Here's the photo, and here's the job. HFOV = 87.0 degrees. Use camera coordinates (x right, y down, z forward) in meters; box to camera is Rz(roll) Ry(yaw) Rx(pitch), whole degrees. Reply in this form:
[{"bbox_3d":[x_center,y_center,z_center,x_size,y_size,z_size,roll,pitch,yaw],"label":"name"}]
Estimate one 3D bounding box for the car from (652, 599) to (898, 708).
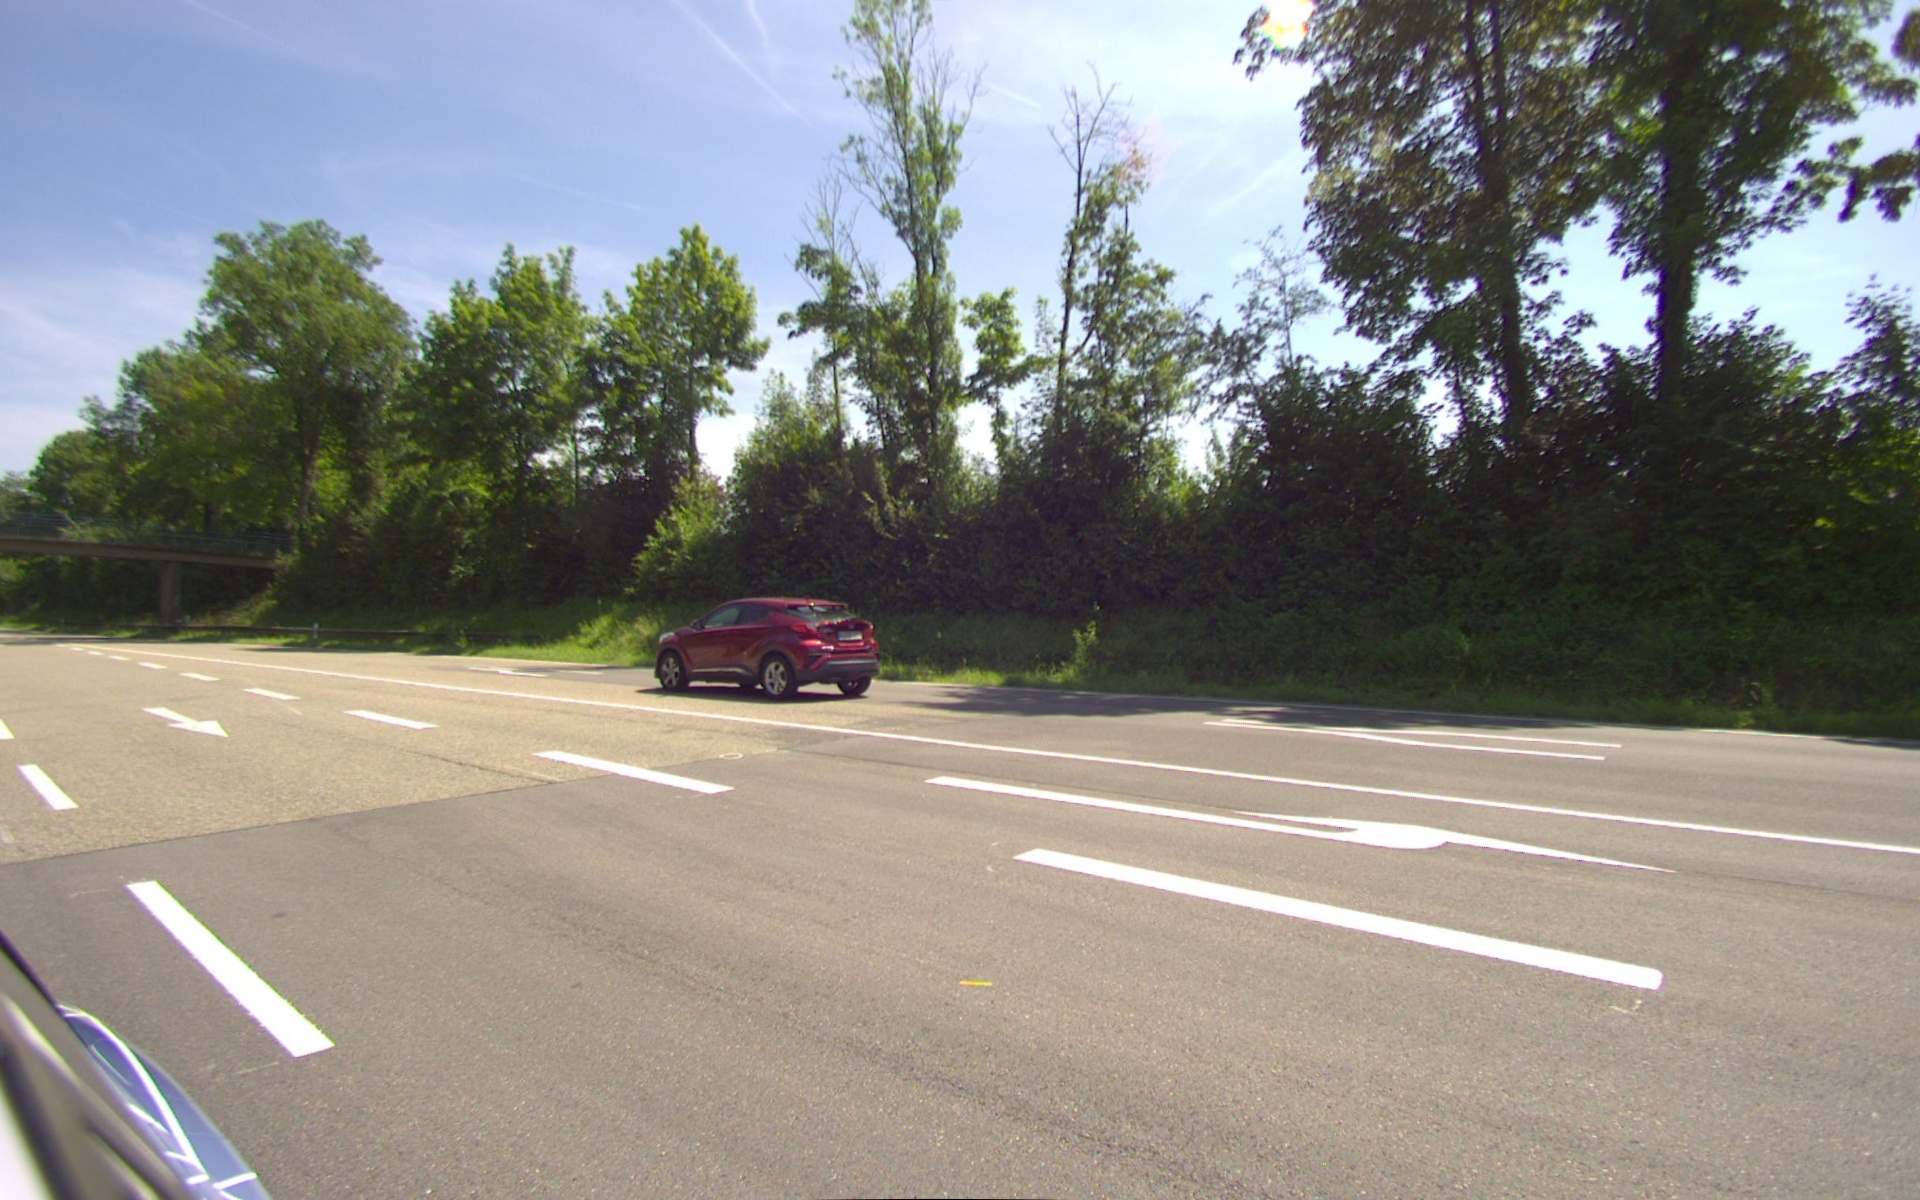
[{"bbox_3d":[-3.001,0.777,16.109,3.760,1.520,1.884,-1,-1,39],"label":"car"}]
